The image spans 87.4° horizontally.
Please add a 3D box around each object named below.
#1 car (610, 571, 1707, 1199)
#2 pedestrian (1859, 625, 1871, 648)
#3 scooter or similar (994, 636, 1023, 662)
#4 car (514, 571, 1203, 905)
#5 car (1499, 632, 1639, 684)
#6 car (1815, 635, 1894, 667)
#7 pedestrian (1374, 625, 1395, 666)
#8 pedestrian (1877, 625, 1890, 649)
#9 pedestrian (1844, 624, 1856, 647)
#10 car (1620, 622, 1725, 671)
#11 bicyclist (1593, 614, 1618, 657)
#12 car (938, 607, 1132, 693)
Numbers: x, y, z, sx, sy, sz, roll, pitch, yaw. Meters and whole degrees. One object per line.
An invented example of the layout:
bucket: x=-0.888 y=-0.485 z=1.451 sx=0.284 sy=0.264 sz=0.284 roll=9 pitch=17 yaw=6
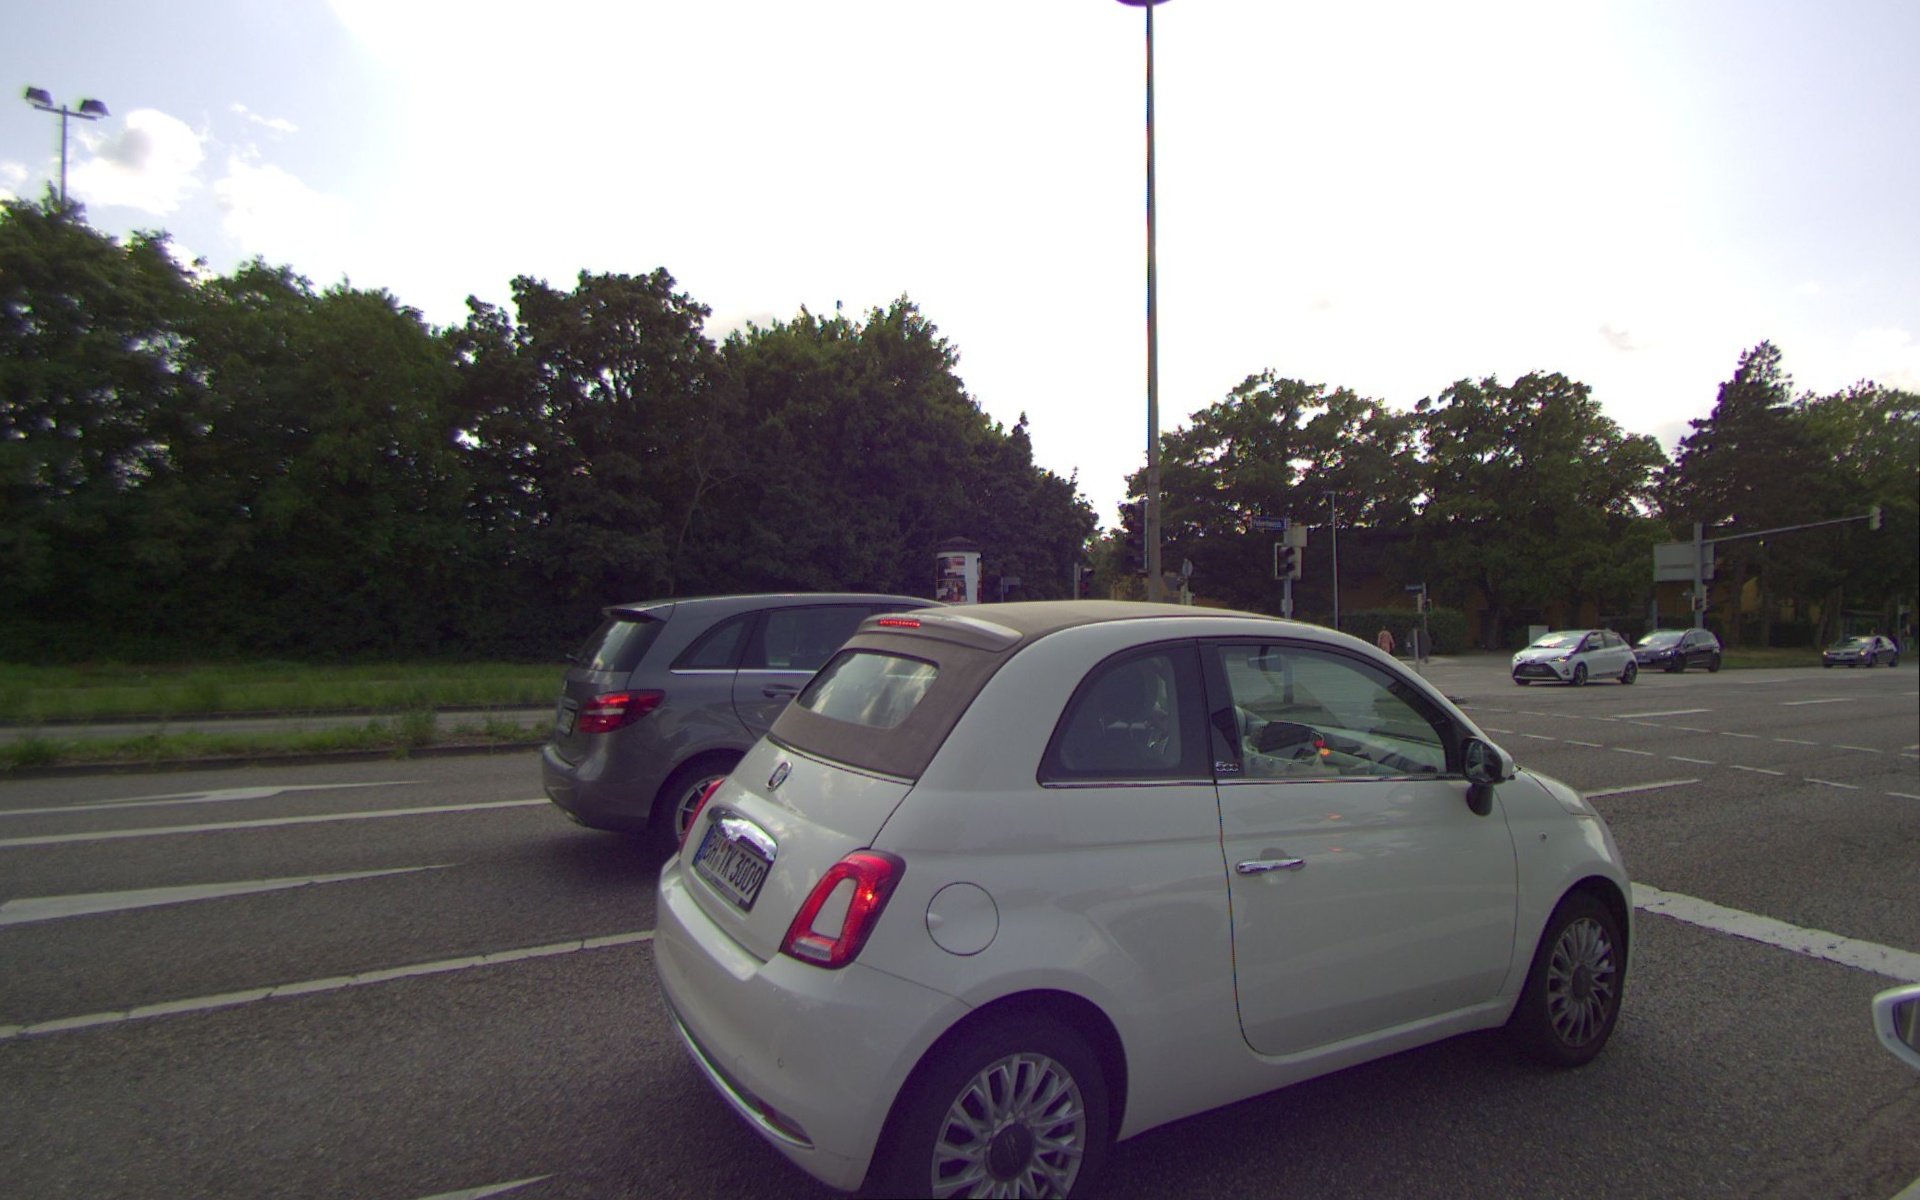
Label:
car: x=0.790 y=0.746 z=3.421 sx=3.499 sy=1.517 sz=1.562 roll=2 pitch=0 yaw=-30
pedestrian: x=60.283 y=2.426 z=66.921 sx=0.418 sy=1.515 sz=0.564 roll=2 pitch=0 yaw=-45
scooter or similar: x=1.794 y=1.806 z=36.984 sx=1.022 sy=0.954 sz=0.295 roll=2 pitch=0 yaw=-24
car: x=-0.558 y=0.745 z=6.773 sx=4.309 sy=1.640 sz=1.690 roll=2 pitch=-1 yaw=-30
car: x=16.638 y=1.579 z=27.422 sx=3.651 sy=1.325 sz=1.745 roll=2 pitch=-4 yaw=-30
car: x=40.542 y=2.289 z=45.515 sx=4.036 sy=1.390 sz=1.586 roll=1 pitch=-2 yaw=-32
pedestrian: x=18.683 y=2.000 z=44.253 sx=0.678 sy=1.765 sz=0.705 roll=0 pitch=-2 yaw=8
pedestrian: x=60.325 y=2.421 z=65.595 sx=0.418 sy=1.515 sz=0.564 roll=2 pitch=0 yaw=-45
pedestrian: x=59.789 y=2.414 z=67.475 sx=0.418 sy=1.515 sz=0.564 roll=2 pitch=0 yaw=-45
car: x=27.035 y=1.762 z=38.064 sx=4.260 sy=1.764 sz=1.663 roll=2 pitch=-2 yaw=-30
bicyclist: x=31.314 y=1.733 z=48.715 sx=0.822 sy=2.040 sz=0.747 roll=1 pitch=-2 yaw=-32
car: x=1.734 y=1.120 z=22.841 sx=4.205 sy=1.817 sz=1.663 roll=2 pitch=-2 yaw=-30
